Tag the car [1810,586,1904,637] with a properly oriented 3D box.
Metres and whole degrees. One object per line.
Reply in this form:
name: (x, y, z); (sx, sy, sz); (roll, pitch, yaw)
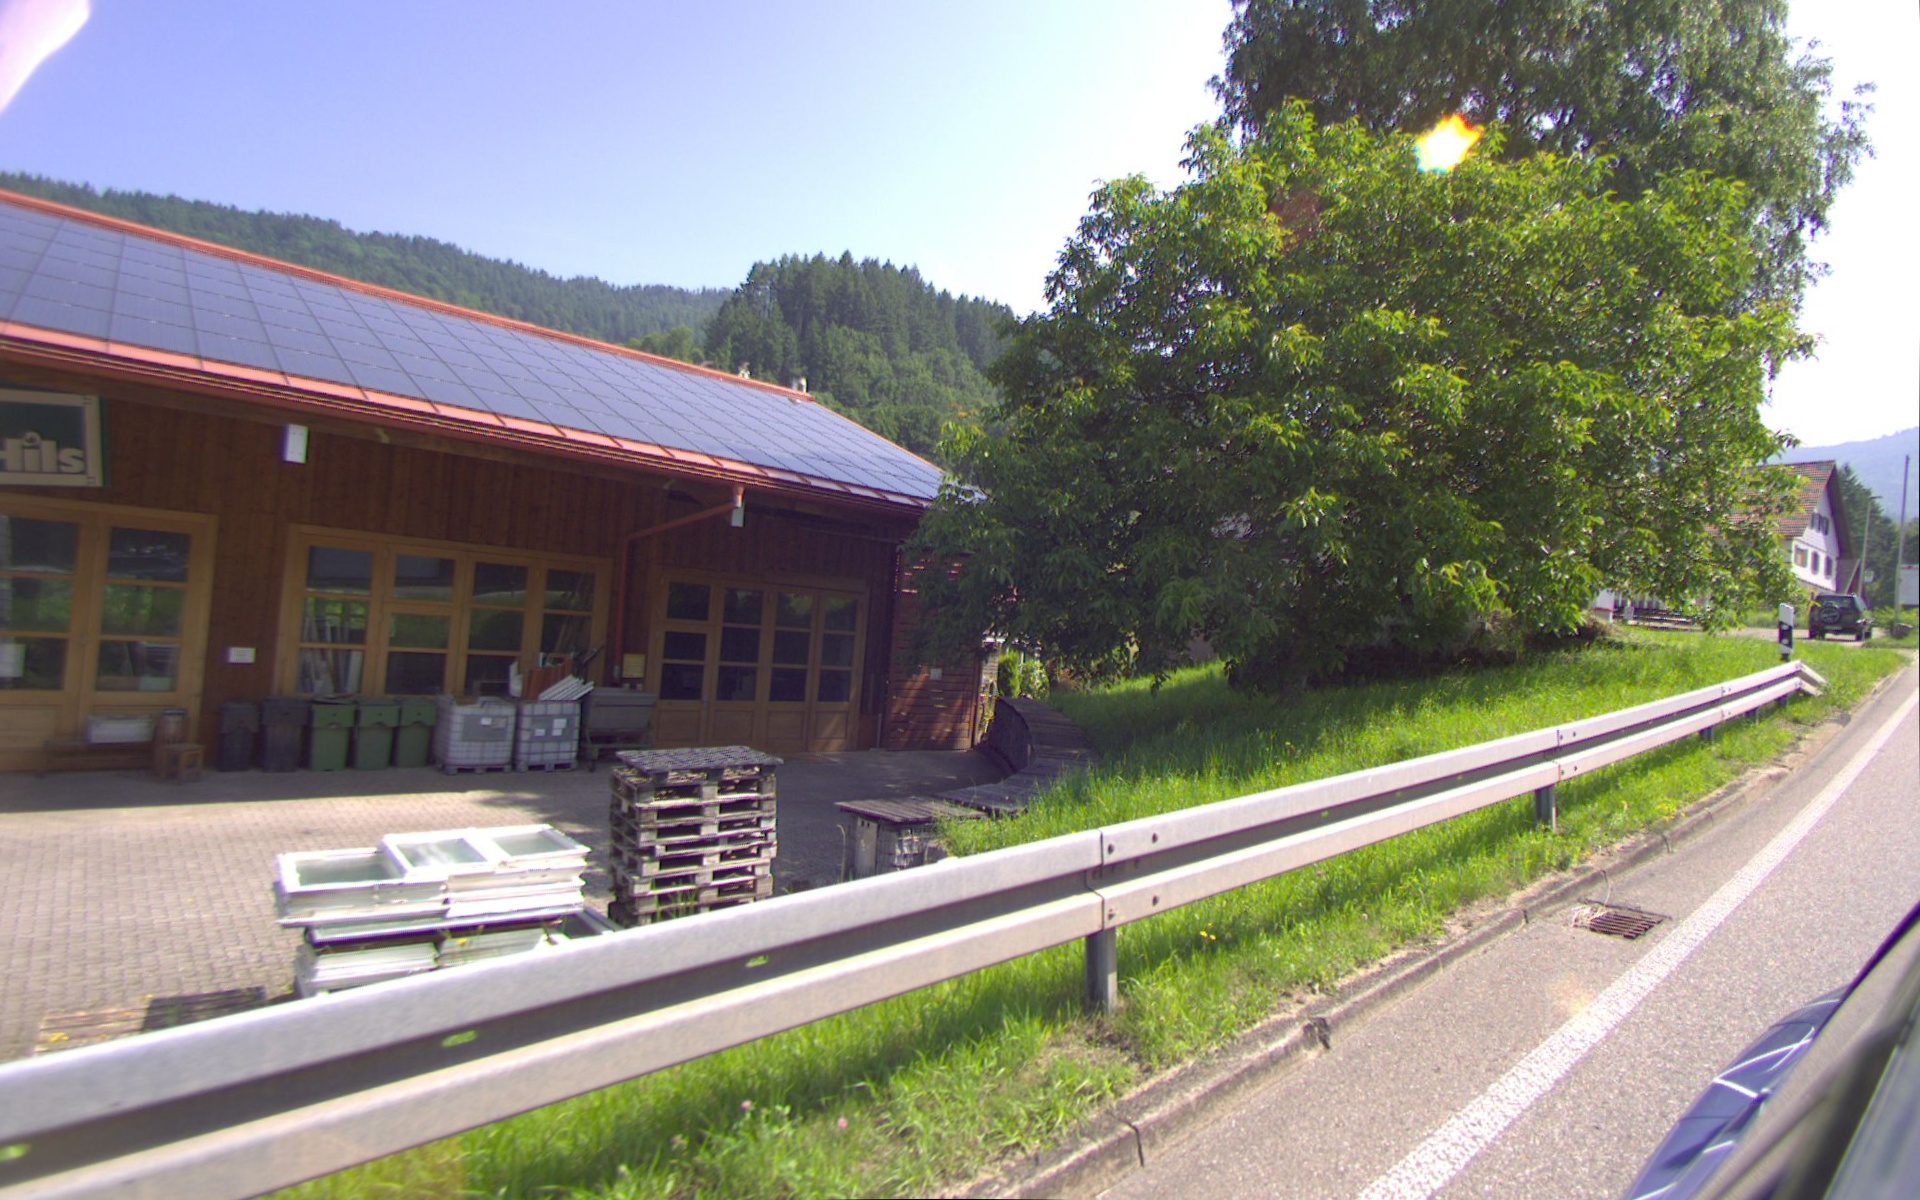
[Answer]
car: (35.745, 0.438, 40.284); (4.576, 1.835, 1.815); (1, 3, -37)
